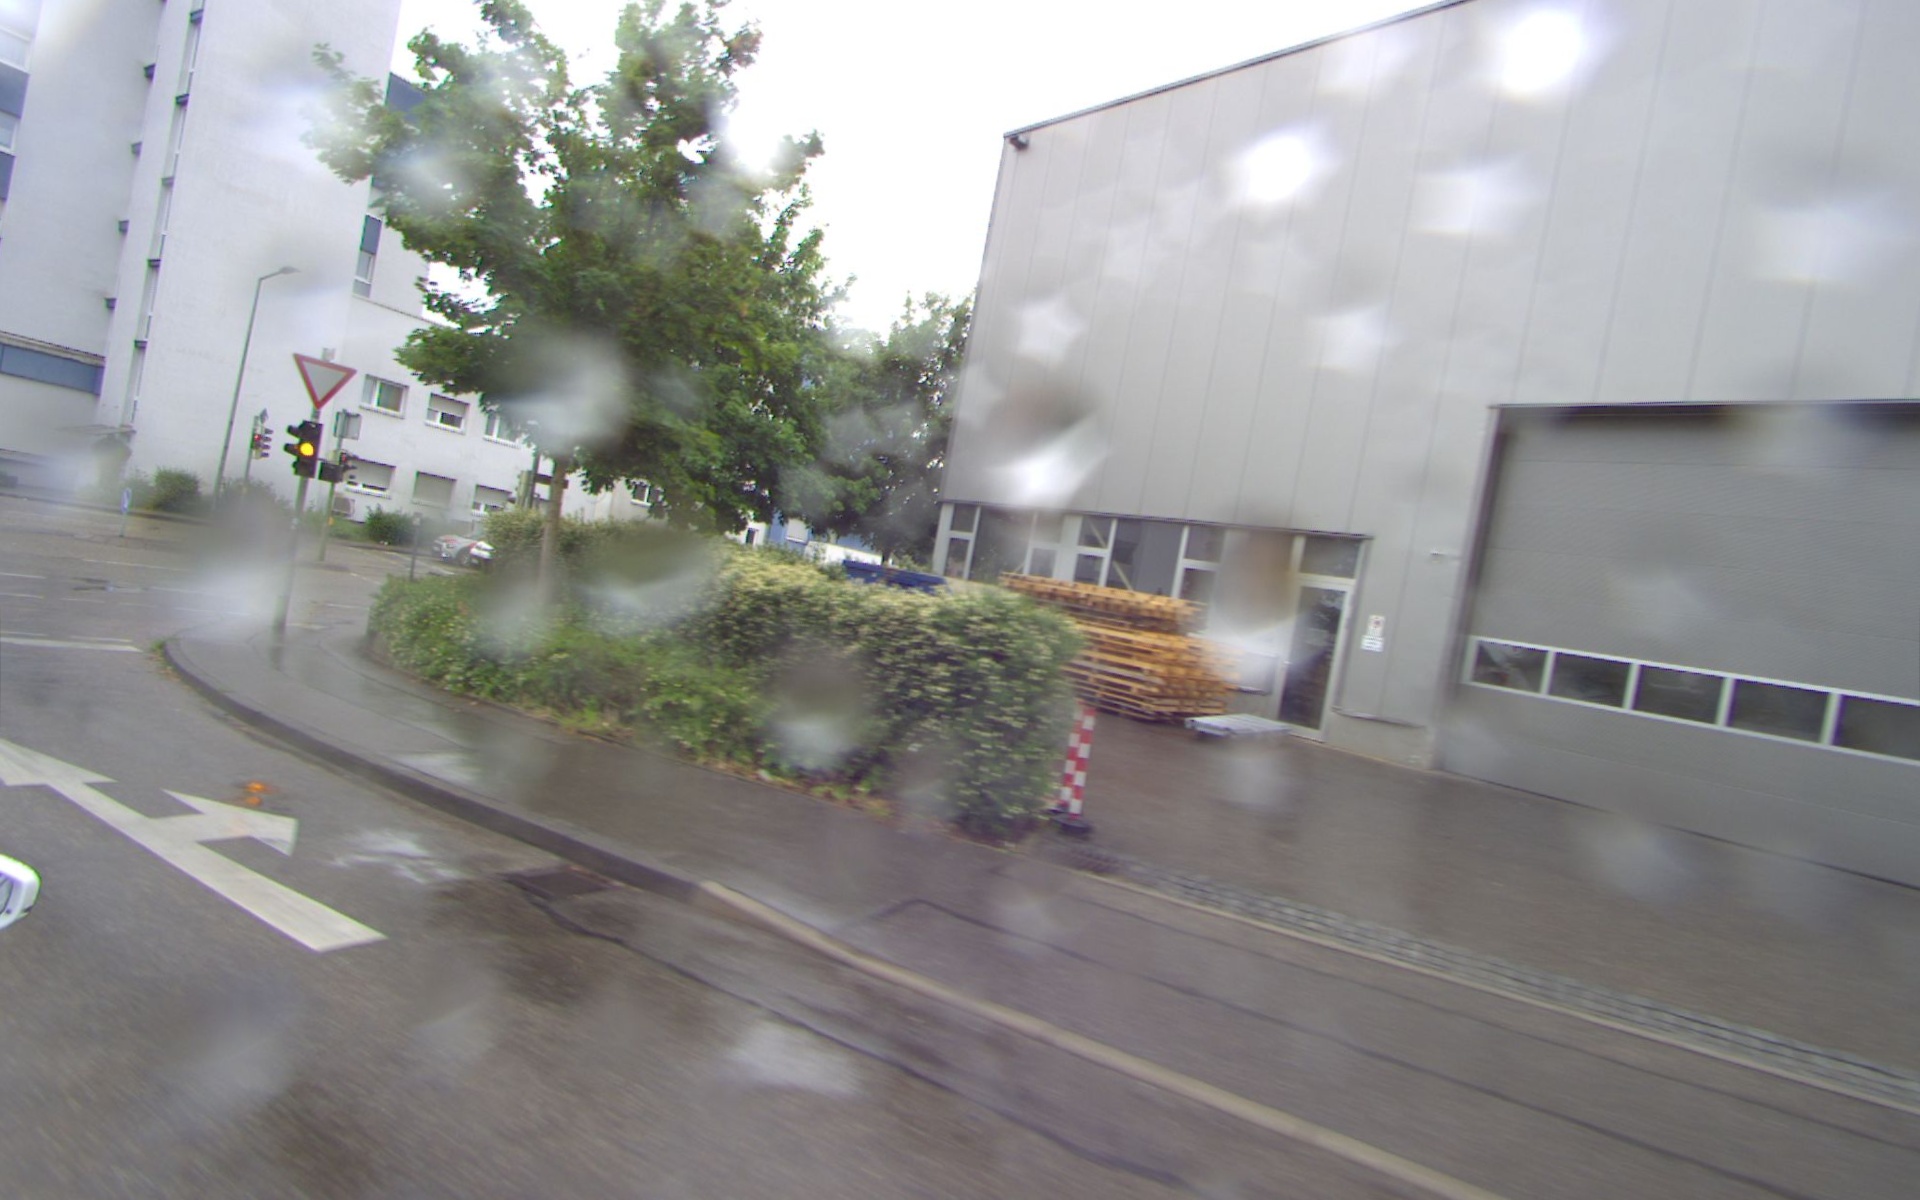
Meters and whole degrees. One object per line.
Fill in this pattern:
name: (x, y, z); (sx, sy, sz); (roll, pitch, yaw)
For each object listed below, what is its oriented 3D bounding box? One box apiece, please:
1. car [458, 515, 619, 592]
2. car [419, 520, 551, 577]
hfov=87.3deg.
car: (-14.812, -1.592, 35.621); (1.800, 1.939, 4.814); (7, -1, 39)
car: (-17.738, -1.899, 37.687); (1.803, 1.485, 3.988); (9, 0, 36)
